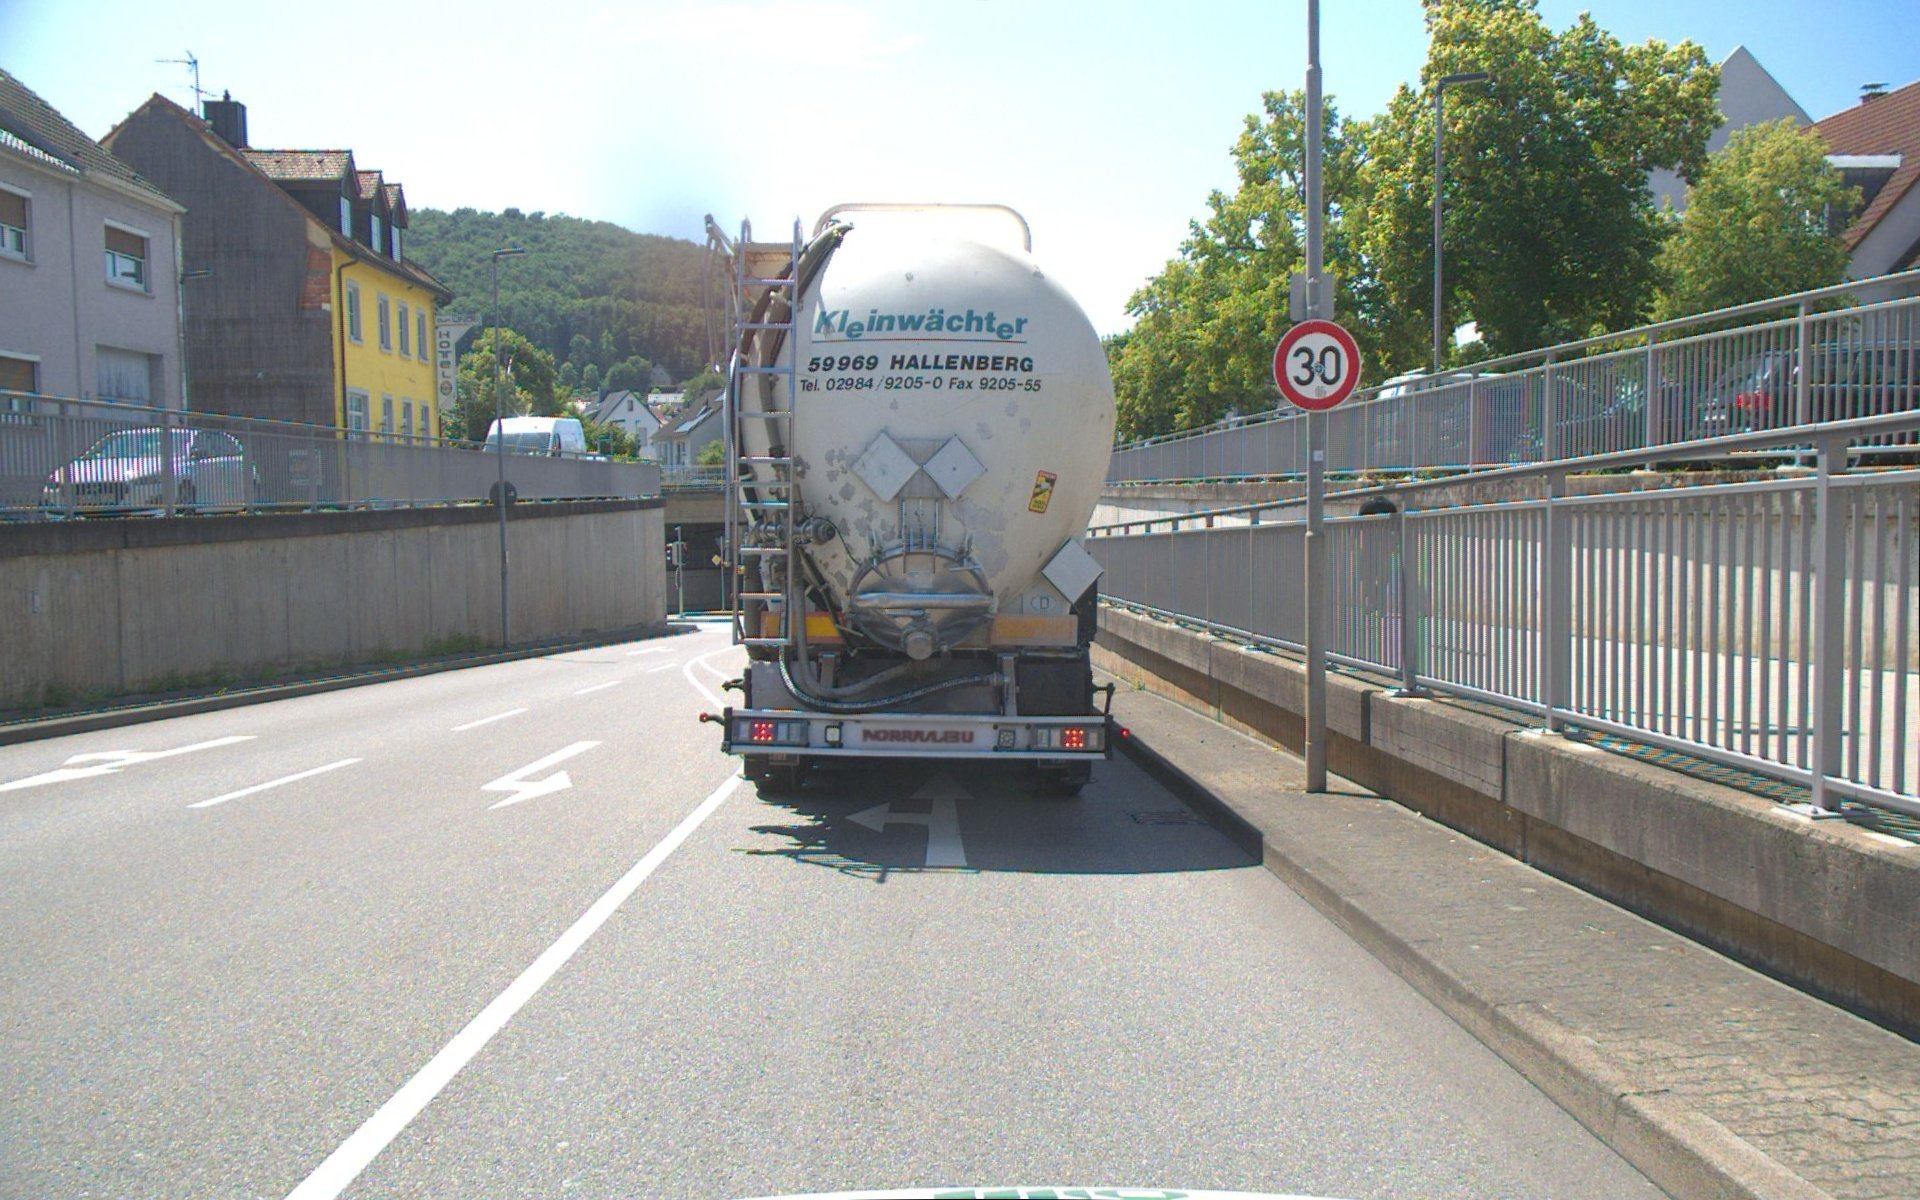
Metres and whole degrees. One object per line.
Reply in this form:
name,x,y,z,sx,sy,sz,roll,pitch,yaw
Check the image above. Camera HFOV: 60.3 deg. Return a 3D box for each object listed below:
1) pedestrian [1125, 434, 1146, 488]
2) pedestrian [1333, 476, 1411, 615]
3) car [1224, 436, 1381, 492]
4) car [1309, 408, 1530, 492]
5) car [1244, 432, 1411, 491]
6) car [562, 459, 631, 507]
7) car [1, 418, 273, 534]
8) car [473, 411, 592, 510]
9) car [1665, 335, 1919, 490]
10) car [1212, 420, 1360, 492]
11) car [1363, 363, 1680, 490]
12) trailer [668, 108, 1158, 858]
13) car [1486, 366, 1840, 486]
pedestrian,5.972,-4.741,56.366,0.659,1.810,0.594,-1,3,0
pedestrian,5.466,-0.720,21.975,0.819,1.813,0.788,-1,1,-1
car,9.087,-3.614,44.052,3.826,1.391,1.687,-1,3,0
car,9.479,-3.096,34.333,4.118,1.623,1.687,-1,3,0
car,9.204,-3.463,41.615,3.826,1.391,1.687,-1,3,0
car,-12.198,-3.917,55.726,1.586,1.526,4.044,1,3,-2
car,-11.698,-1.771,23.876,1.776,1.487,4.311,1,4,-1
car,-11.990,-3.869,46.743,2.023,2.580,5.662,1,3,-2
car,9.886,-1.964,17.518,4.118,1.524,1.687,-1,3,0
car,9.132,-4.025,46.484,3.826,1.917,1.687,-1,3,0
car,9.951,-3.066,29.599,5.008,2.099,1.989,-1,3,0
trailer,-0.299,-0.679,15.842,2.679,4.135,13.311,1,0,0
car,9.711,-2.395,23.080,4.198,1.524,1.749,-1,3,0
